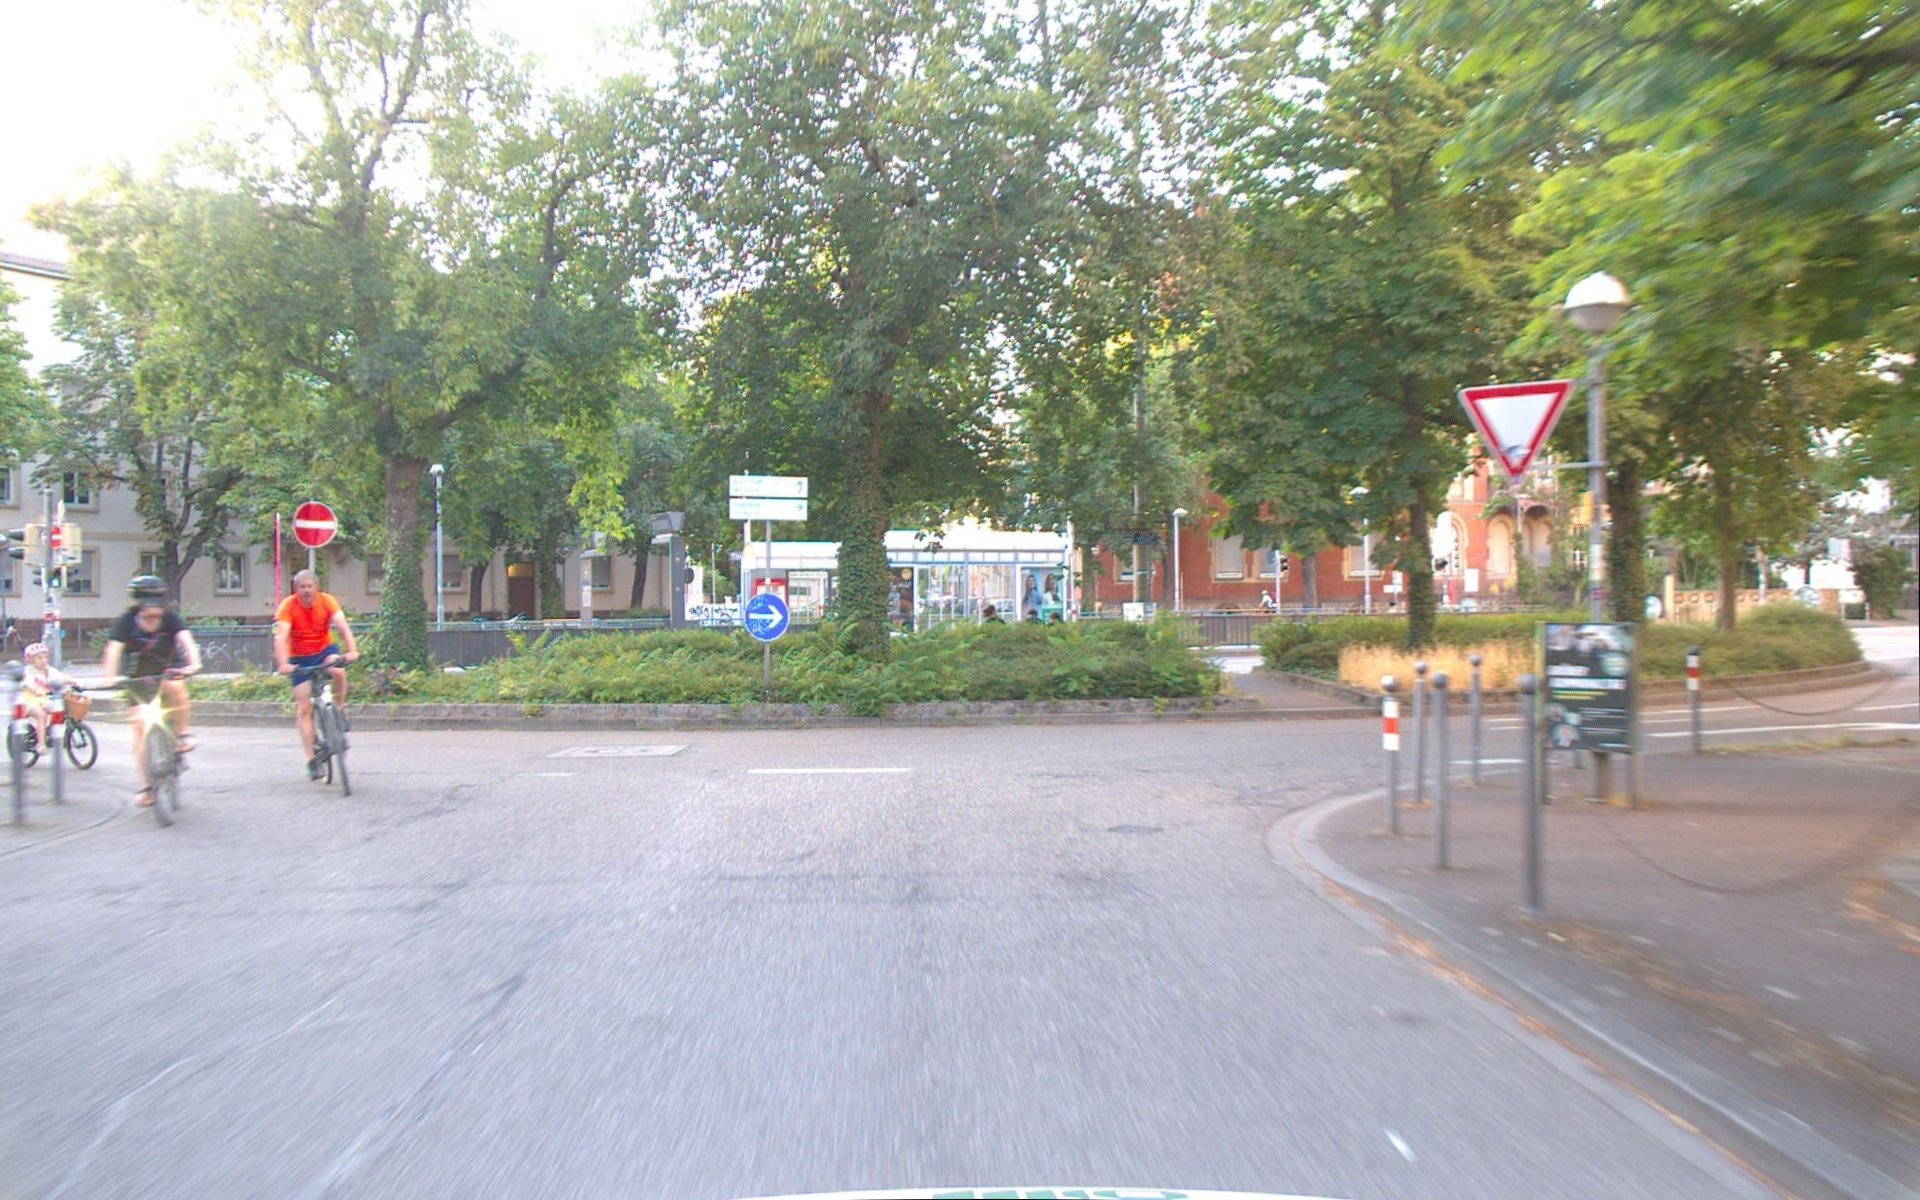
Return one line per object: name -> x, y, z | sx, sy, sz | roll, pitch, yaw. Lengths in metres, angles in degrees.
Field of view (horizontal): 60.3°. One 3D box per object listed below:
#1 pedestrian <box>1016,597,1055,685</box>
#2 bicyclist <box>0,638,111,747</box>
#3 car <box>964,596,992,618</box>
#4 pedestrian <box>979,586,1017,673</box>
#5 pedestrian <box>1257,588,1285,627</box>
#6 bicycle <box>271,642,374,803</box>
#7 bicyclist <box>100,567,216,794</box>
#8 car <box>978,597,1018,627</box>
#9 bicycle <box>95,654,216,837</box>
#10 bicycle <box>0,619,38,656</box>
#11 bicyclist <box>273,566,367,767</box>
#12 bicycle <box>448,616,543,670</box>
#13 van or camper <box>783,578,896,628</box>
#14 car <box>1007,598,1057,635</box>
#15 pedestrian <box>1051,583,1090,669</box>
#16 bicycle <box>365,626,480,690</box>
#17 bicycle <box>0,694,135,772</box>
pedestrian -> 1.280, 0.687, 28.067 | 0.603, 1.456, 0.655 | -1, 0, -1
bicyclist -> -8.643, 0.868, 15.782 | 0.713, 0.994, 0.648 | -1, 0, 25
car -> 1.415, 0.540, 133.349 | 1.954, 1.733, 4.717 | 1, 0, -3
pedestrian -> 0.640, 0.488, 27.949 | 0.603, 1.456, 0.655 | -1, 0, -1
pedestrian -> 12.284, 0.296, 65.322 | 0.850, 1.552, 0.713 | -1, 0, 36
bicycle -> -5.128, 0.929, 13.239 | 0.641, 1.126, 1.999 | -1, 0, -24
bicyclist -> -5.749, 0.548, 11.876 | 0.704, 1.552, 0.860 | -1, 0, -26
car -> 2.211, 0.702, 97.760 | 1.954, 1.733, 4.717 | 1, 0, -3
bicycle -> -5.757, 0.986, 11.903 | 0.711, 1.126, 1.998 | -1, 0, -25
bicycle -> -31.877, 1.254, 55.117 | 0.672, 1.171, 1.915 | -1, 0, 32
bicyclist -> -5.178, 0.516, 13.356 | 0.644, 1.552, 0.860 | -1, 0, -25
bicycle -> -9.616, 0.884, 34.257 | 1.825, 1.070, 0.542 | -1, 0, -24
van or camper -> -7.850, 0.181, 107.740 | 7.224, 3.137, 2.669 | 1, 0, -7
car -> 3.514, 0.788, 81.477 | 1.954, 1.733, 4.717 | 1, 0, -3
pedestrian -> 1.901, 0.439, 28.589 | 0.603, 1.456, 0.655 | -1, 0, -1
bicycle -> -10.552, 1.124, 32.466 | 2.082, 1.171, 0.681 | -1, 0, -26
bicycle -> -8.662, 1.257, 15.789 | 1.430, 0.654, 0.651 | -1, 0, 25
